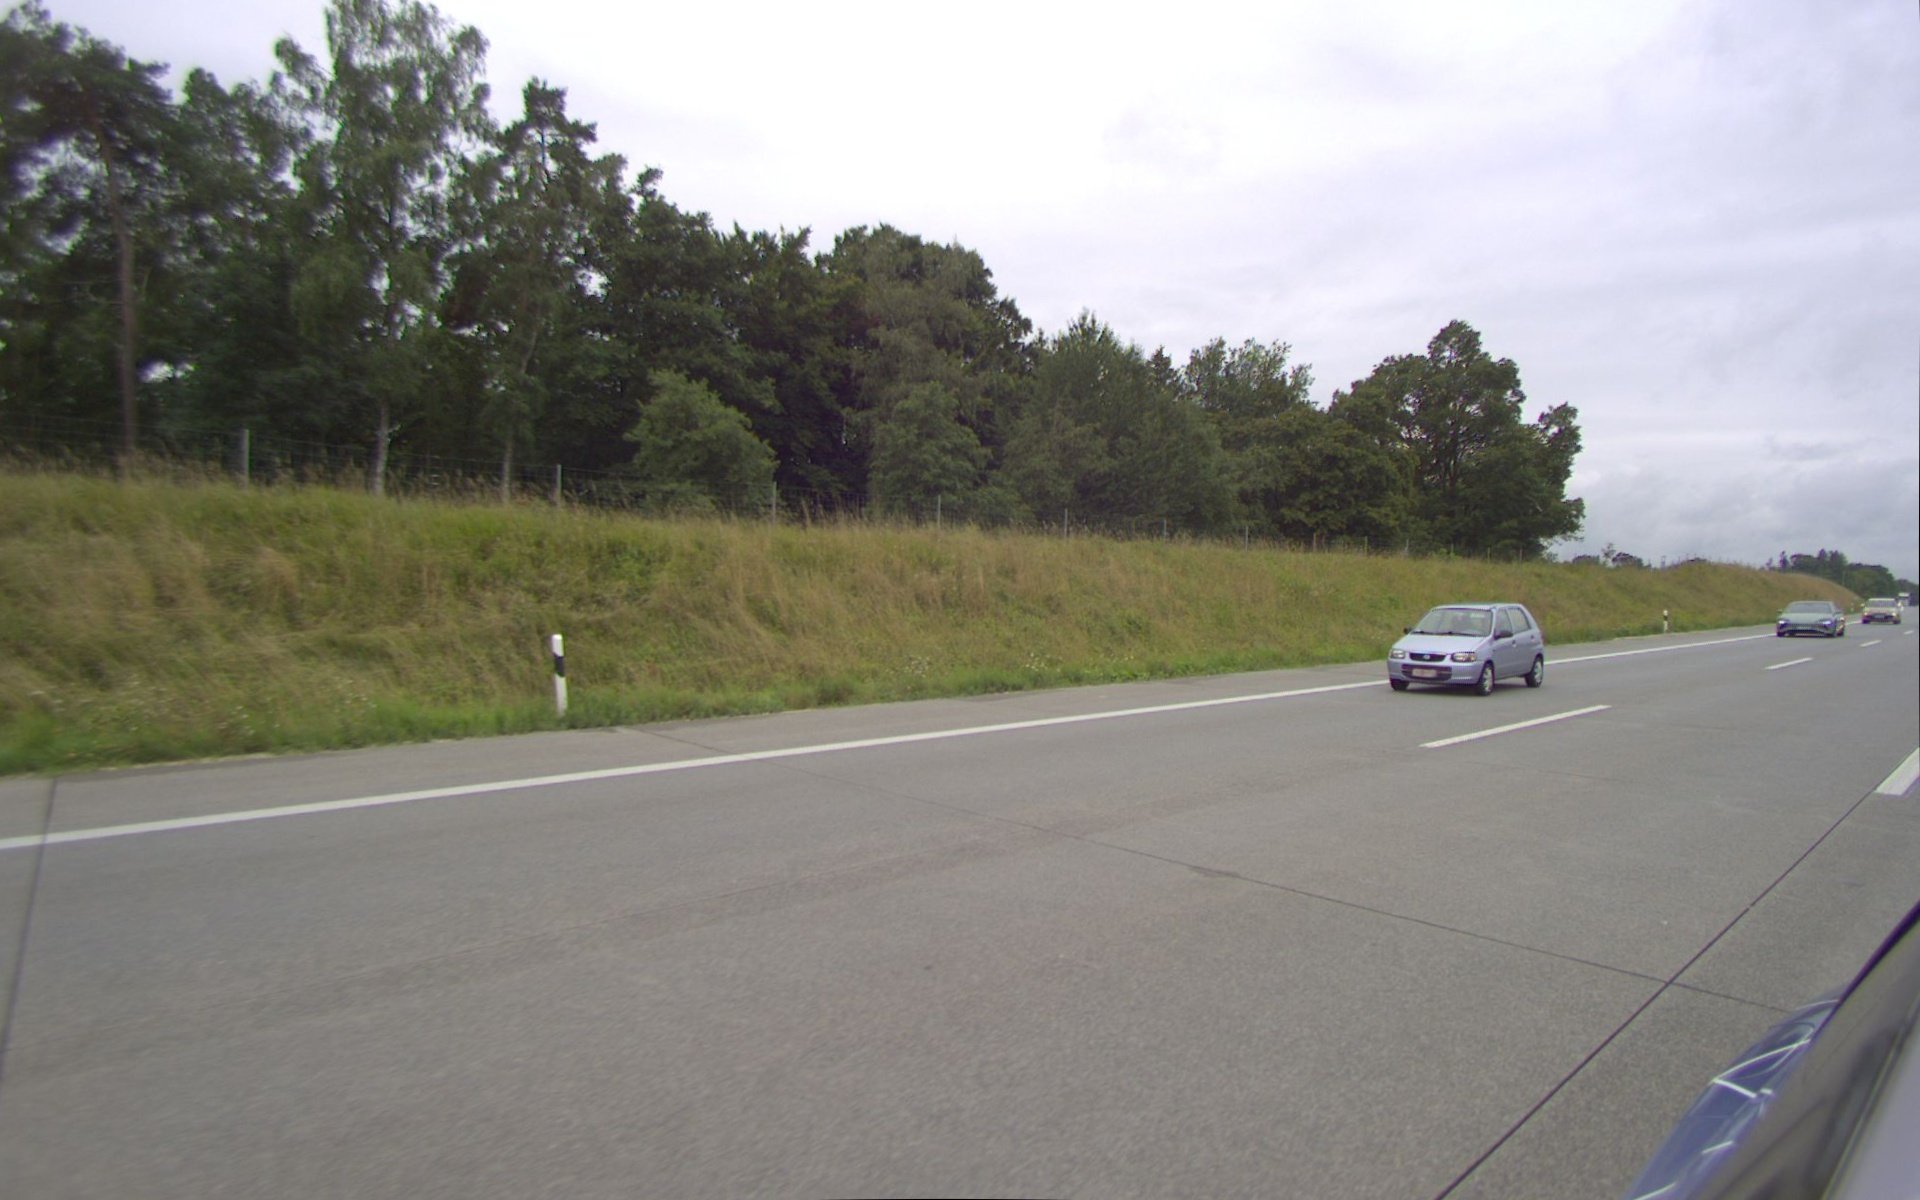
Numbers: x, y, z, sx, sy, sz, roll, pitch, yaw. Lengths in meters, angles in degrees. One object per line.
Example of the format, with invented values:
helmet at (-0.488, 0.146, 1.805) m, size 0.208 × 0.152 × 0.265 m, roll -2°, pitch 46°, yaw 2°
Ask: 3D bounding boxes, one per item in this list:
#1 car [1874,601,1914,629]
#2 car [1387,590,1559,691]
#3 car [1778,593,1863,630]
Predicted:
car at (60.250, 0.970, 65.286) m, size 1.786 × 1.624 × 4.498 m, roll 5°, pitch 2°, yaw 43°
car at (8.572, 0.629, 16.791) m, size 3.445 × 1.489 × 1.487 m, roll 1°, pitch 0°, yaw -44°
car at (35.781, 0.479, 42.054) m, size 4.661 × 1.464 × 2.017 m, roll 1°, pitch -1°, yaw -41°
